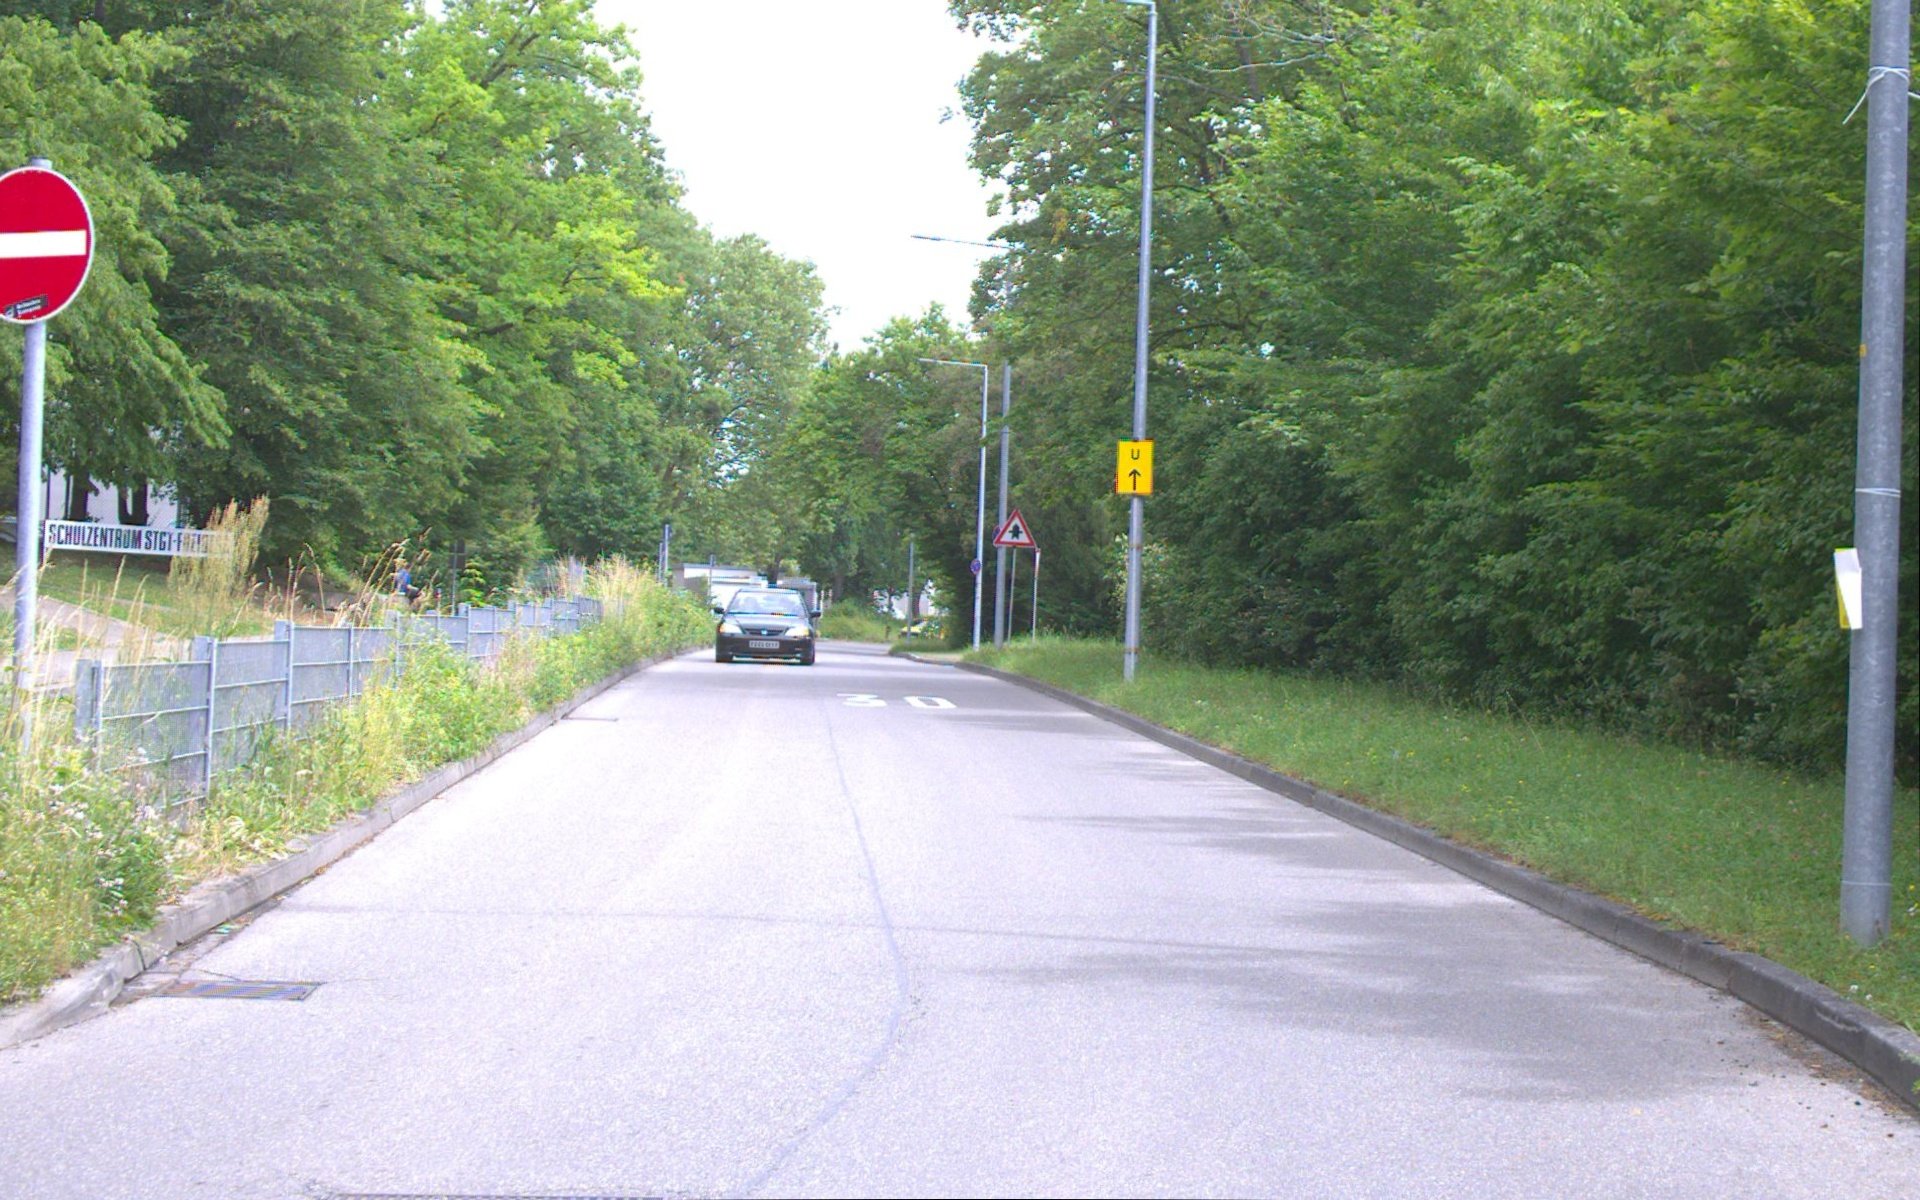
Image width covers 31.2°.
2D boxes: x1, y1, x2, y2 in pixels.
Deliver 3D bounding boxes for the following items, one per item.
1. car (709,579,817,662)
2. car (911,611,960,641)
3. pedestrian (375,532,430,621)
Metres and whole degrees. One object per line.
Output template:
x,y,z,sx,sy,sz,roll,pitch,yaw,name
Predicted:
-3.474,0.343,61.122,1.693,1.344,4.095,2,1,-1,car
-1.304,1.408,188.008,1.861,1.487,3.997,0,-3,12,car
-12.848,-0.534,79.213,0.877,2.007,0.865,-2,-4,43,pedestrian
